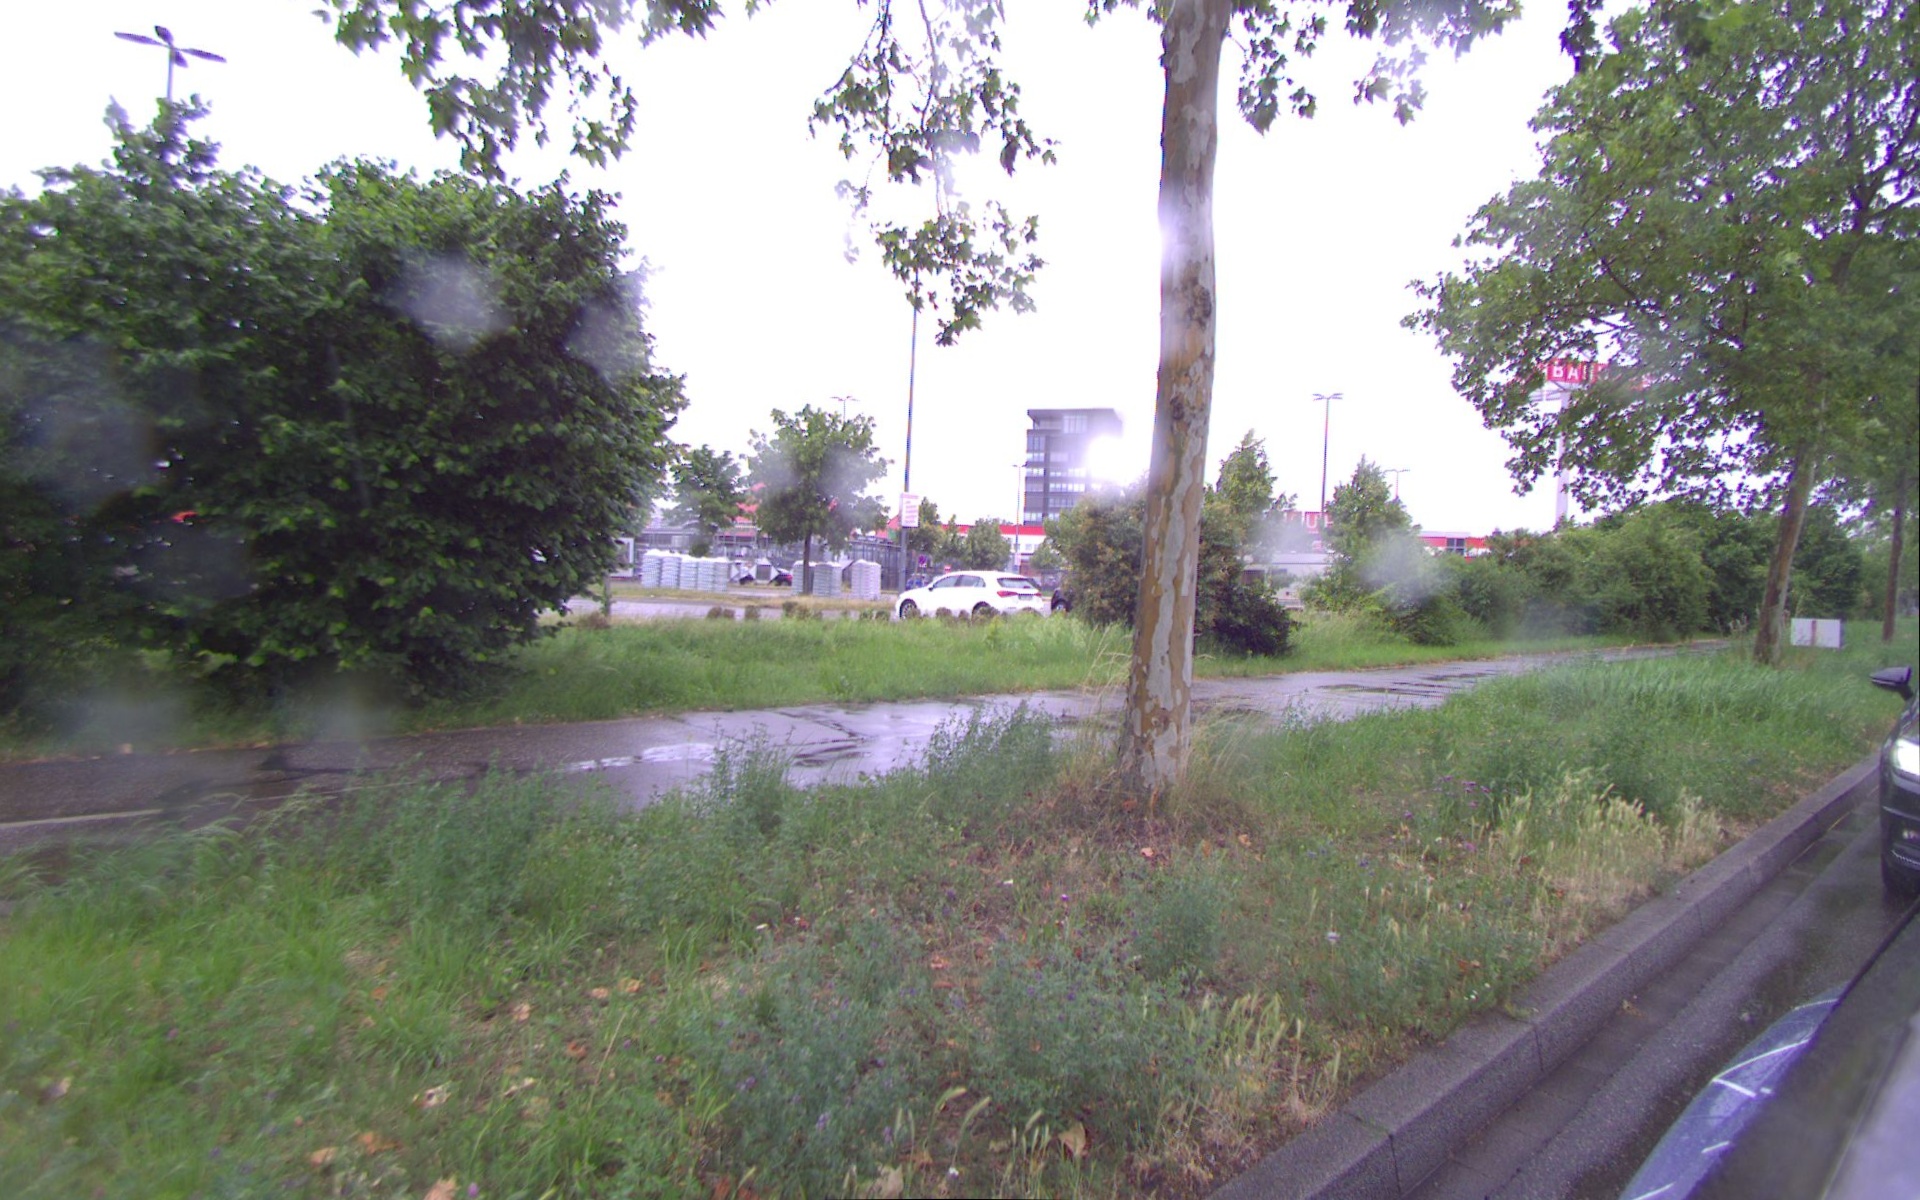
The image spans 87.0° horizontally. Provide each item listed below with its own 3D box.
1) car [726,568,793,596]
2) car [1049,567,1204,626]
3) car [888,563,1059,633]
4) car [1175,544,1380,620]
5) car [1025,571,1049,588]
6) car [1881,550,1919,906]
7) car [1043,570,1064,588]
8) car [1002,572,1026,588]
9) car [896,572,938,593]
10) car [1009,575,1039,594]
[{"bbox_3d":[-12.449,-1.102,62.879,3.723,1.739,1.685,0,0,13],"label":"car"},{"bbox_3d":[4.921,-0.150,30.288,1.899,1.571,4.262,0,2,-45],"label":"car"},{"bbox_3d":[0.279,-0.109,25.933,1.899,1.571,4.262,0,2,-45],"label":"car"},{"bbox_3d":[10.946,-0.702,35.277,6.399,2.392,2.357,3,2,41],"label":"car"},{"bbox_3d":[8.495,-2.281,111.892,1.973,1.697,4.257,2,2,13],"label":"car"},{"bbox_3d":[6.550,0.580,5.608,4.548,1.625,1.768,0,0,-43],"label":"car"},{"bbox_3d":[9.290,-2.088,100.147,1.968,1.697,4.267,2,2,6],"label":"car"},{"bbox_3d":[6.000,-2.273,112.492,1.973,1.697,4.257,2,2,13],"label":"car"},{"bbox_3d":[-3.357,-1.406,79.299,1.905,1.571,4.249,2,2,18],"label":"car"},{"bbox_3d":[6.025,-1.445,94.716,1.973,1.697,4.255,2,2,14],"label":"car"}]
